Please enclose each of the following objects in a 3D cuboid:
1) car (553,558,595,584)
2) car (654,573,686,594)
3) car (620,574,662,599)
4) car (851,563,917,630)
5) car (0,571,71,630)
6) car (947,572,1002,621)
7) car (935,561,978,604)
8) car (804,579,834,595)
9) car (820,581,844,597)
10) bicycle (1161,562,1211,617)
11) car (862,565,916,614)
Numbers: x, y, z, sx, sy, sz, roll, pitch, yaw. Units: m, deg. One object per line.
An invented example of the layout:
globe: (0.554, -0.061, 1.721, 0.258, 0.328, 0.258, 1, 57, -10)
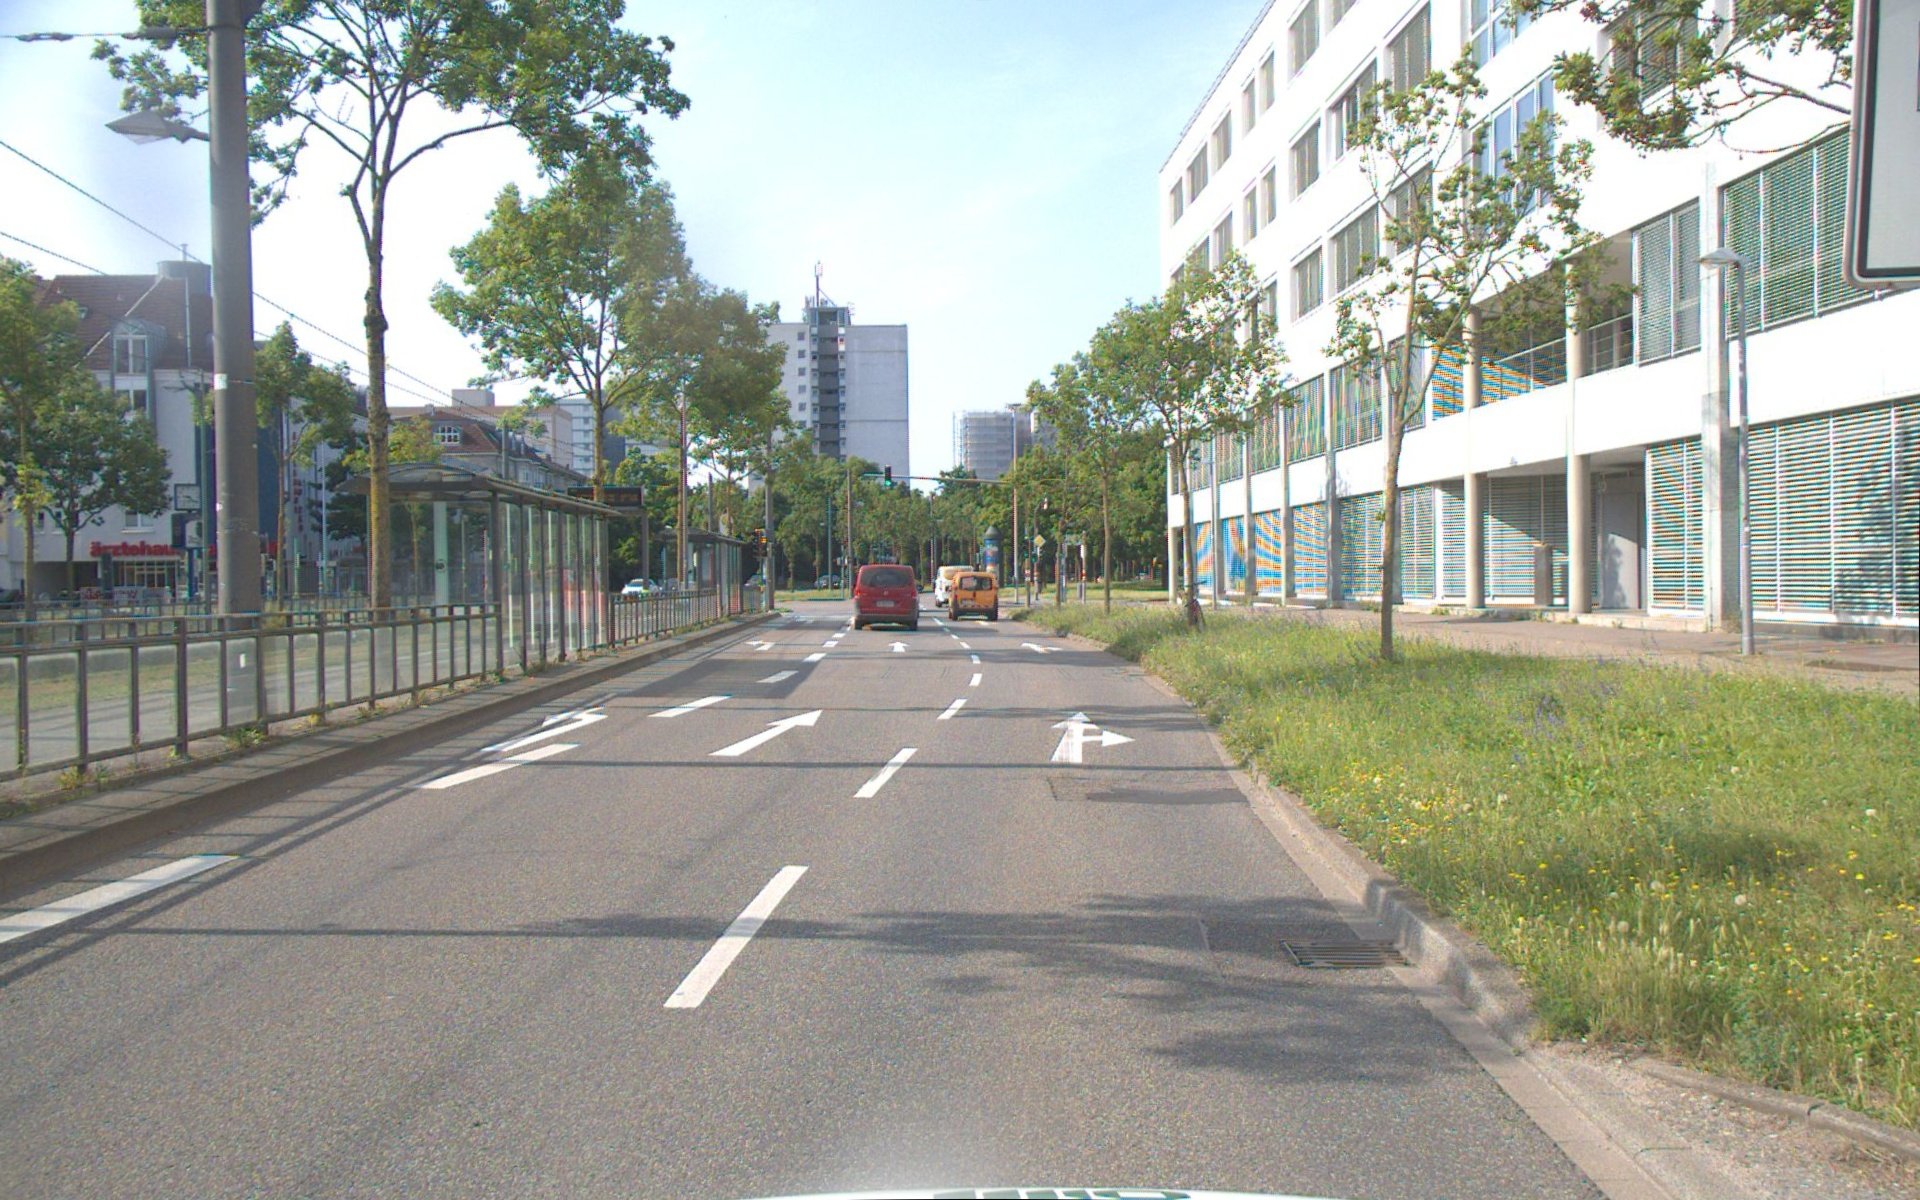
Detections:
car: (-25.755, -1.925, 110.531, 1.953, 1.624, 3.999, 1, 0, -2)
car: (-23.415, -1.348, 133.486, 1.836, 1.601, 4.001, -1, 1, 1)
car: (-21.489, -0.890, 111.577, 1.952, 1.624, 4.050, 1, 0, 1)
car: (-2.289, -0.124, 49.107, 1.837, 1.885, 3.997, -1, 1, -4)
car: (-35.056, -0.018, 60.597, 2.319, 2.066, 5.308, 1, 0, -3)
car: (0.483, -0.146, 60.494, 1.838, 1.726, 3.972, -1, 1, -2)
car: (-0.190, -0.846, 81.412, 1.954, 2.049, 3.998, 1, 0, -3)
car: (-15.136, -1.409, 177.399, 1.835, 1.601, 4.225, -2, 1, 15)
car: (-13.232, -1.176, 171.065, 1.835, 1.601, 4.002, 1, 0, 5)
bicycle: (4.390, -0.219, 32.273, 0.605, 1.035, 1.878, -1, 1, -3)
car: (-2.713, -0.407, 63.025, 1.954, 1.735, 3.998, -2, 1, -3)
